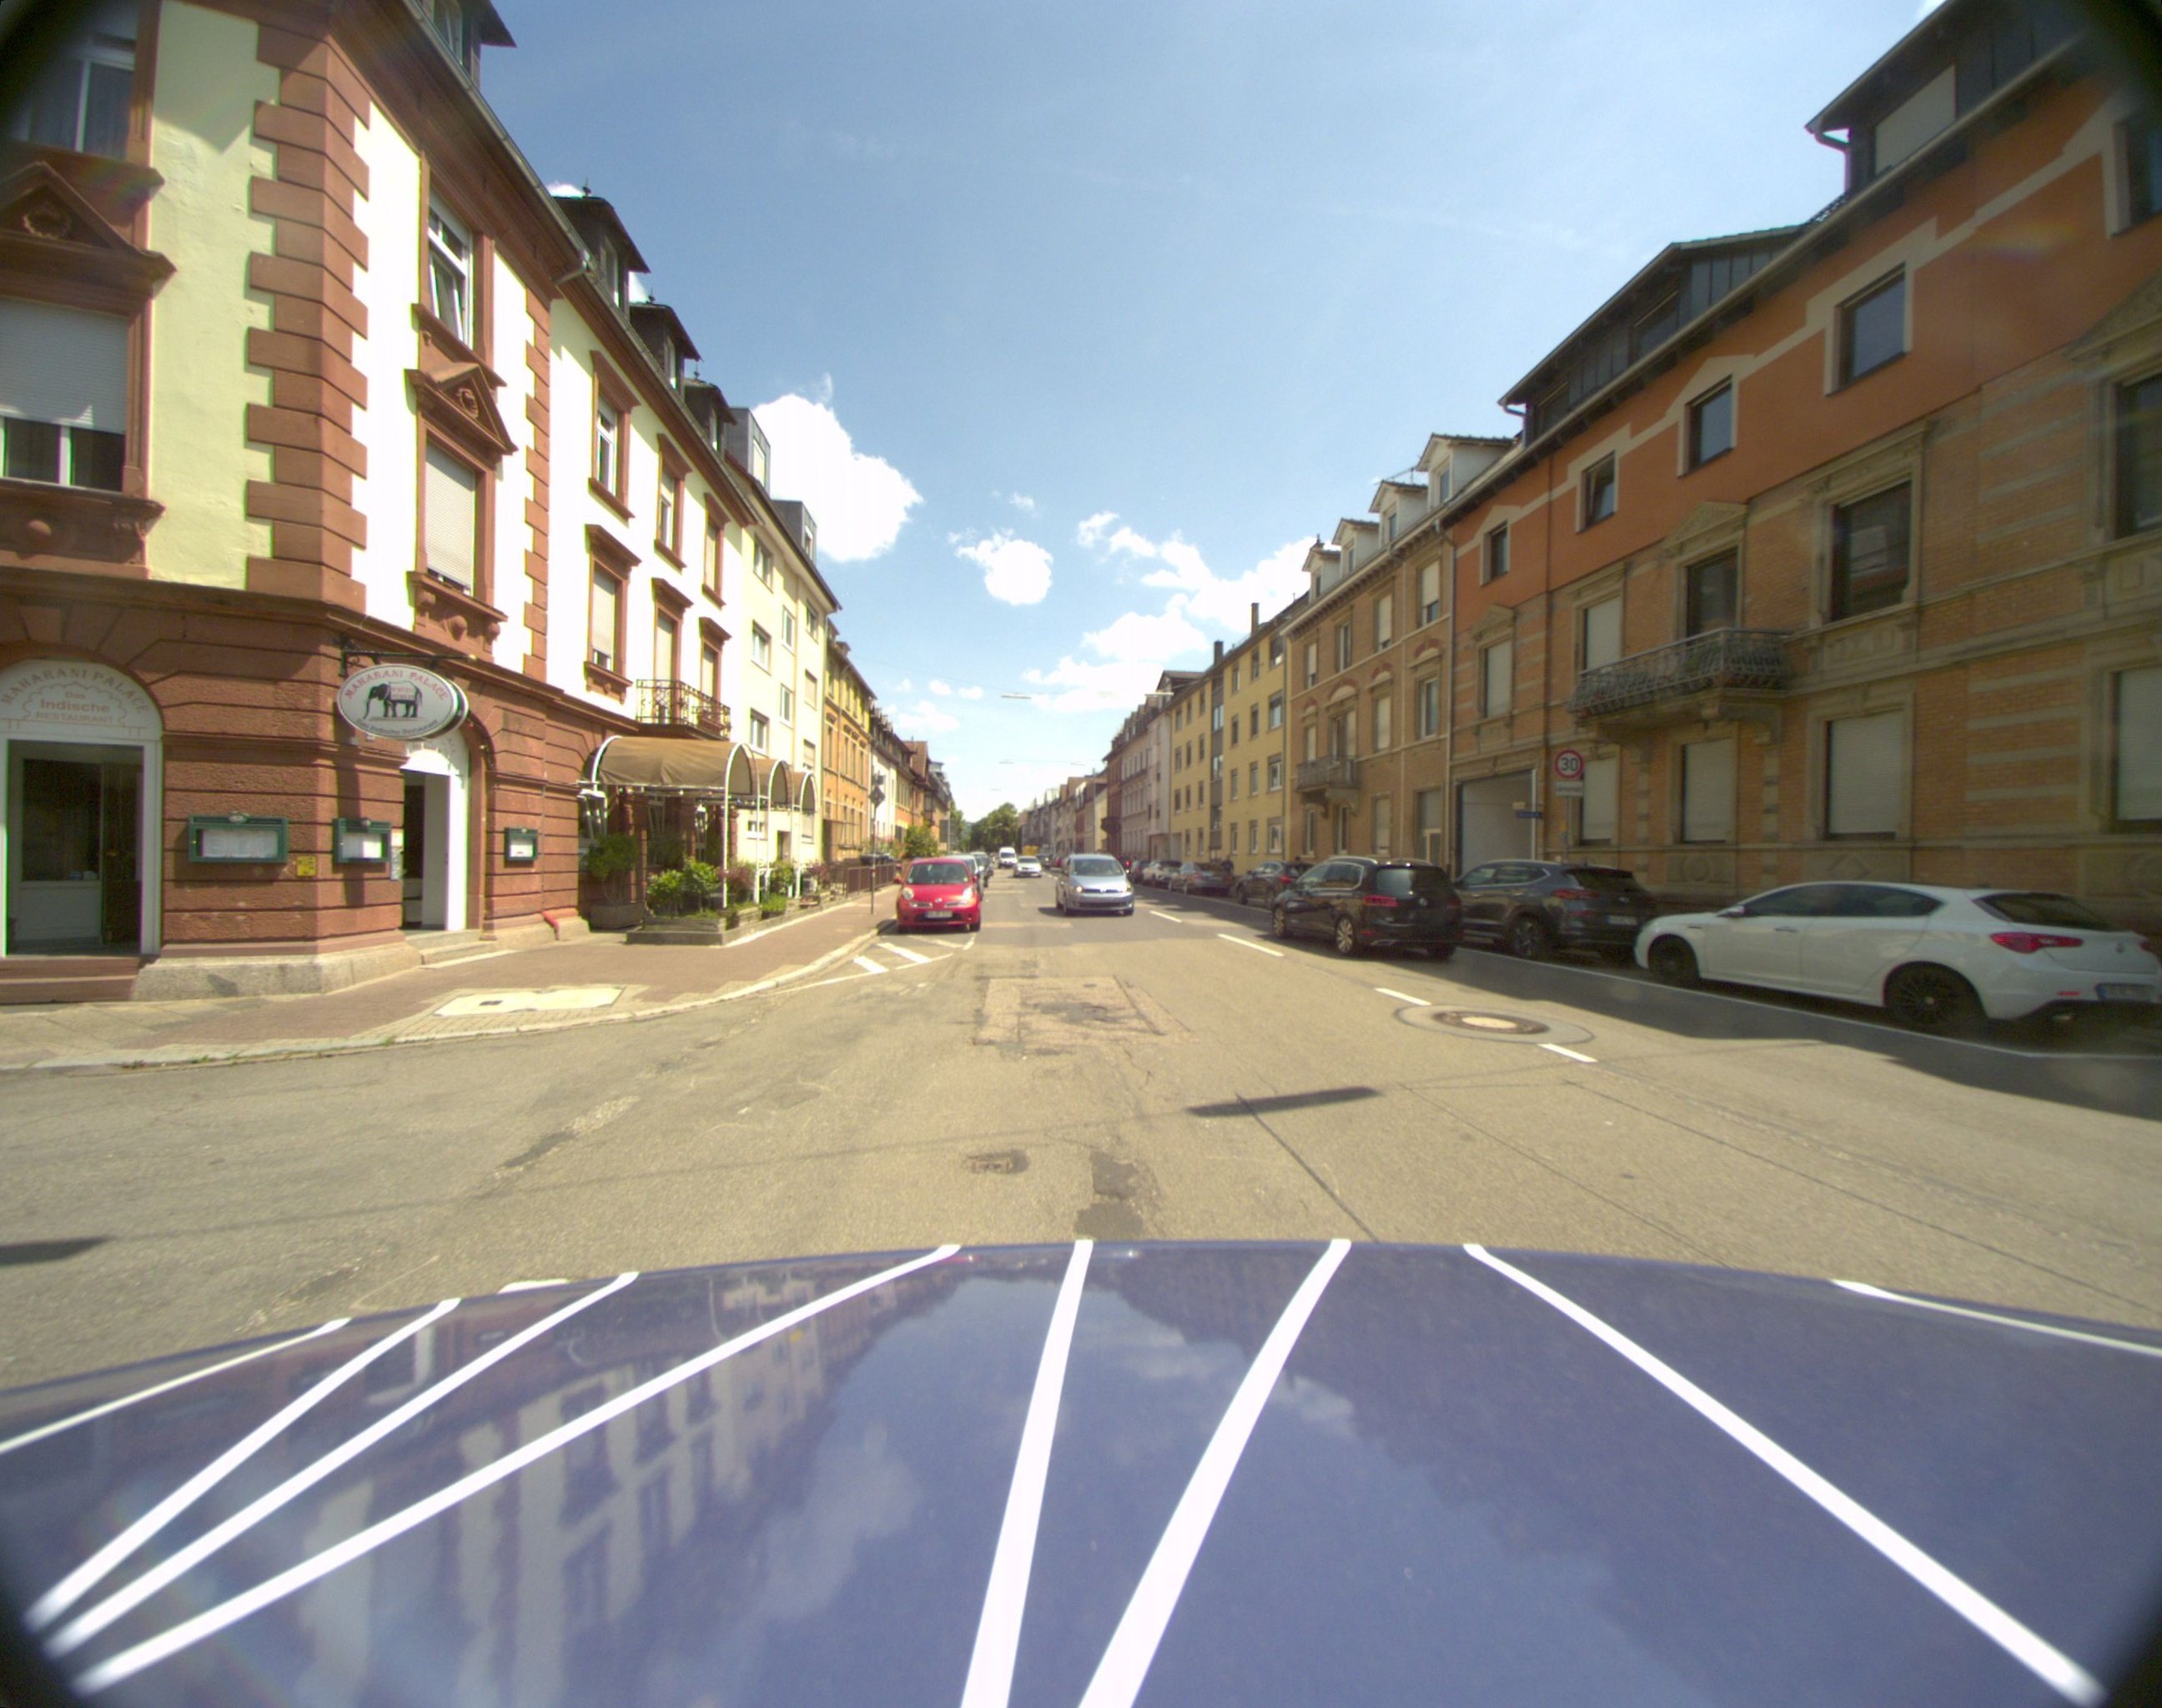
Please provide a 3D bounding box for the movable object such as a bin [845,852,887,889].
[{"bbox_3d":[-8.185,0.618,29.026,1.286,1.388,1.412,1,0,-6],"label":"movable object such as a bin"}]

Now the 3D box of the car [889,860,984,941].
[{"bbox_3d":[-3.111,0.903,16.579,1.763,1.470,3.780,-2,1,-10],"label":"car"}]

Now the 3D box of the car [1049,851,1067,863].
[{"bbox_3d":[-2.963,0.348,98.225,1.666,1.402,4.100,4,0,-10],"label":"car"}]

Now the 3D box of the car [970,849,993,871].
[{"bbox_3d":[-8.024,0.479,61.320,1.709,1.700,3.928,-2,1,-7],"label":"car"}]

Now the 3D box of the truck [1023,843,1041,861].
[{"bbox_3d":[-8.092,-0.343,124.887,2.325,2.725,8.062,1,0,-8],"label":"truck"}]

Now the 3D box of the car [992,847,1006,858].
[{"bbox_3d":[-11.462,-0.219,105.976,1.906,1.489,4.484,0,0,-6],"label":"car"}]

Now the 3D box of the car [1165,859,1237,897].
[{"bbox_3d":[5.269,1.023,34.136,1.911,1.443,4.683,4,0,-7],"label":"car"}]

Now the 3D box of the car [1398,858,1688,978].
[{"bbox_3d":[7.804,0.978,13.481,1.871,1.618,4.496,4,0,-8],"label":"car"}]

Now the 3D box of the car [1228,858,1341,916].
[{"bbox_3d":[6.554,1.006,24.997,1.871,1.542,4.496,4,0,-8],"label":"car"}]

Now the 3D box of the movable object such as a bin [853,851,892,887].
[{"bbox_3d":[-8.347,0.599,30.432,1.286,1.388,1.363,1,0,-6],"label":"movable object such as a bin"}]

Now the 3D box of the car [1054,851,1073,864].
[{"bbox_3d":[-2.162,0.430,93.190,1.666,1.402,4.100,4,0,-10],"label":"car"}]

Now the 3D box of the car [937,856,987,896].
[{"bbox_3d":[-4.837,0.868,31.332,1.763,1.470,3.928,-2,1,-6],"label":"car"}]

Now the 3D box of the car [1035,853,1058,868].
[{"bbox_3d":[-3.845,0.692,83.532,1.914,1.601,4.442,2,0,-10],"label":"car"}]

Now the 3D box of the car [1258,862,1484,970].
[{"bbox_3d":[4.680,0.915,13.024,1.766,1.486,4.242,1,0,-8],"label":"car"}]

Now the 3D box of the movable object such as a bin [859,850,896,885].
[{"bbox_3d":[-8.489,0.555,31.794,1.286,1.402,1.304,1,0,-6],"label":"movable object such as a bin"}]

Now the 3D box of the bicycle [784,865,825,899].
[{"bbox_3d":[-8.458,0.835,23.328,0.552,0.977,1.630,0,0,5],"label":"bicycle"}]

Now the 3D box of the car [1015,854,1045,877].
[{"bbox_3d":[-3.537,0.743,51.912,1.906,1.489,4.484,0,0,-6],"label":"car"}]

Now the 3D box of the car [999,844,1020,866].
[{"bbox_3d":[-7.565,0.065,80.136,1.906,2.261,5.667,0,0,-8],"label":"car"}]

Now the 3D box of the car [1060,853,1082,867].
[{"bbox_3d":[-1.166,0.642,86.625,1.751,1.402,4.100,4,0,-10],"label":"car"}]

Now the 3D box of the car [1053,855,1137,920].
[{"bbox_3d":[0.269,0.822,20.590,1.760,1.559,3.997,0,0,-7],"label":"car"}]

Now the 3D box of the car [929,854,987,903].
[{"bbox_3d":[-4.322,0.807,27.196,1.763,1.542,4.063,-2,1,-6],"label":"car"}]

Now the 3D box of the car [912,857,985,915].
[{"bbox_3d":[-3.790,0.868,22.306,1.763,1.470,3.928,-2,1,-6],"label":"car"}]

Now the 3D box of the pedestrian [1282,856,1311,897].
[{"bbox_3d":[8.223,0.867,29.025,0.805,1.525,0.875,1,1,-2],"label":"pedestrian"}]

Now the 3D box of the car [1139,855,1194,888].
[{"bbox_3d":[4.486,0.895,40.518,1.871,1.542,4.310,4,0,-7],"label":"car"}]

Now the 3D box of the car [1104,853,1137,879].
[{"bbox_3d":[2.709,0.793,51.957,1.747,1.579,3.956,4,0,9],"label":"car"}]

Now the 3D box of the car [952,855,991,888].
[{"bbox_3d":[-5.410,0.802,37.669,1.763,1.470,4.415,-2,1,-8],"label":"car"}]

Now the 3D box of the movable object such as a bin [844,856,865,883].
[{"bbox_3d":[-9.827,0.667,32.966,0.724,1.161,0.746,1,1,-8],"label":"movable object such as a bin"}]

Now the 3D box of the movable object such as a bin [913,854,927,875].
[{"bbox_3d":[-9.785,0.633,46.209,0.753,1.235,0.876,1,1,-8],"label":"movable object such as a bin"}]

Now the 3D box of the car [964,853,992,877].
[{"bbox_3d":[-6.732,0.678,49.760,1.709,1.470,3.928,-2,1,-7],"label":"car"}]

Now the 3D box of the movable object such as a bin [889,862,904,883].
[{"bbox_3d":[-8.422,0.833,34.708,0.626,0.923,0.611,1,1,-8],"label":"movable object such as a bin"}]

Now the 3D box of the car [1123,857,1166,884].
[{"bbox_3d":[3.768,0.948,45.520,1.750,1.402,3.912,4,0,-6],"label":"car"}]

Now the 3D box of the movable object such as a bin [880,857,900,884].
[{"bbox_3d":[-8.338,0.710,33.206,0.724,1.181,0.746,1,1,-8],"label":"movable object such as a bin"}]

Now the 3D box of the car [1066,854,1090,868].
[{"bbox_3d":[-0.347,0.726,80.974,1.751,1.402,4.100,4,0,-10],"label":"car"}]

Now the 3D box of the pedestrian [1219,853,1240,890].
[{"bbox_3d":[7.025,0.821,35.892,0.804,1.746,0.876,1,1,1],"label":"pedestrian"}]

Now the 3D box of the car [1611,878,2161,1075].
[{"bbox_3d":[8.553,1.109,8.456,1.871,1.417,4.327,4,0,-7],"label":"car"}]

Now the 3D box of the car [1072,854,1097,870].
[{"bbox_3d":[0.335,0.732,75.518,1.751,1.402,4.100,4,0,-10],"label":"car"}]

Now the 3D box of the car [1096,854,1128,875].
[{"bbox_3d":[2.358,0.796,58.264,1.750,1.402,4.281,4,0,-6],"label":"car"}]

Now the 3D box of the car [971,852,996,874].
[{"bbox_3d":[-7.148,0.635,55.790,1.709,1.470,3.928,-2,1,-7],"label":"car"}]
